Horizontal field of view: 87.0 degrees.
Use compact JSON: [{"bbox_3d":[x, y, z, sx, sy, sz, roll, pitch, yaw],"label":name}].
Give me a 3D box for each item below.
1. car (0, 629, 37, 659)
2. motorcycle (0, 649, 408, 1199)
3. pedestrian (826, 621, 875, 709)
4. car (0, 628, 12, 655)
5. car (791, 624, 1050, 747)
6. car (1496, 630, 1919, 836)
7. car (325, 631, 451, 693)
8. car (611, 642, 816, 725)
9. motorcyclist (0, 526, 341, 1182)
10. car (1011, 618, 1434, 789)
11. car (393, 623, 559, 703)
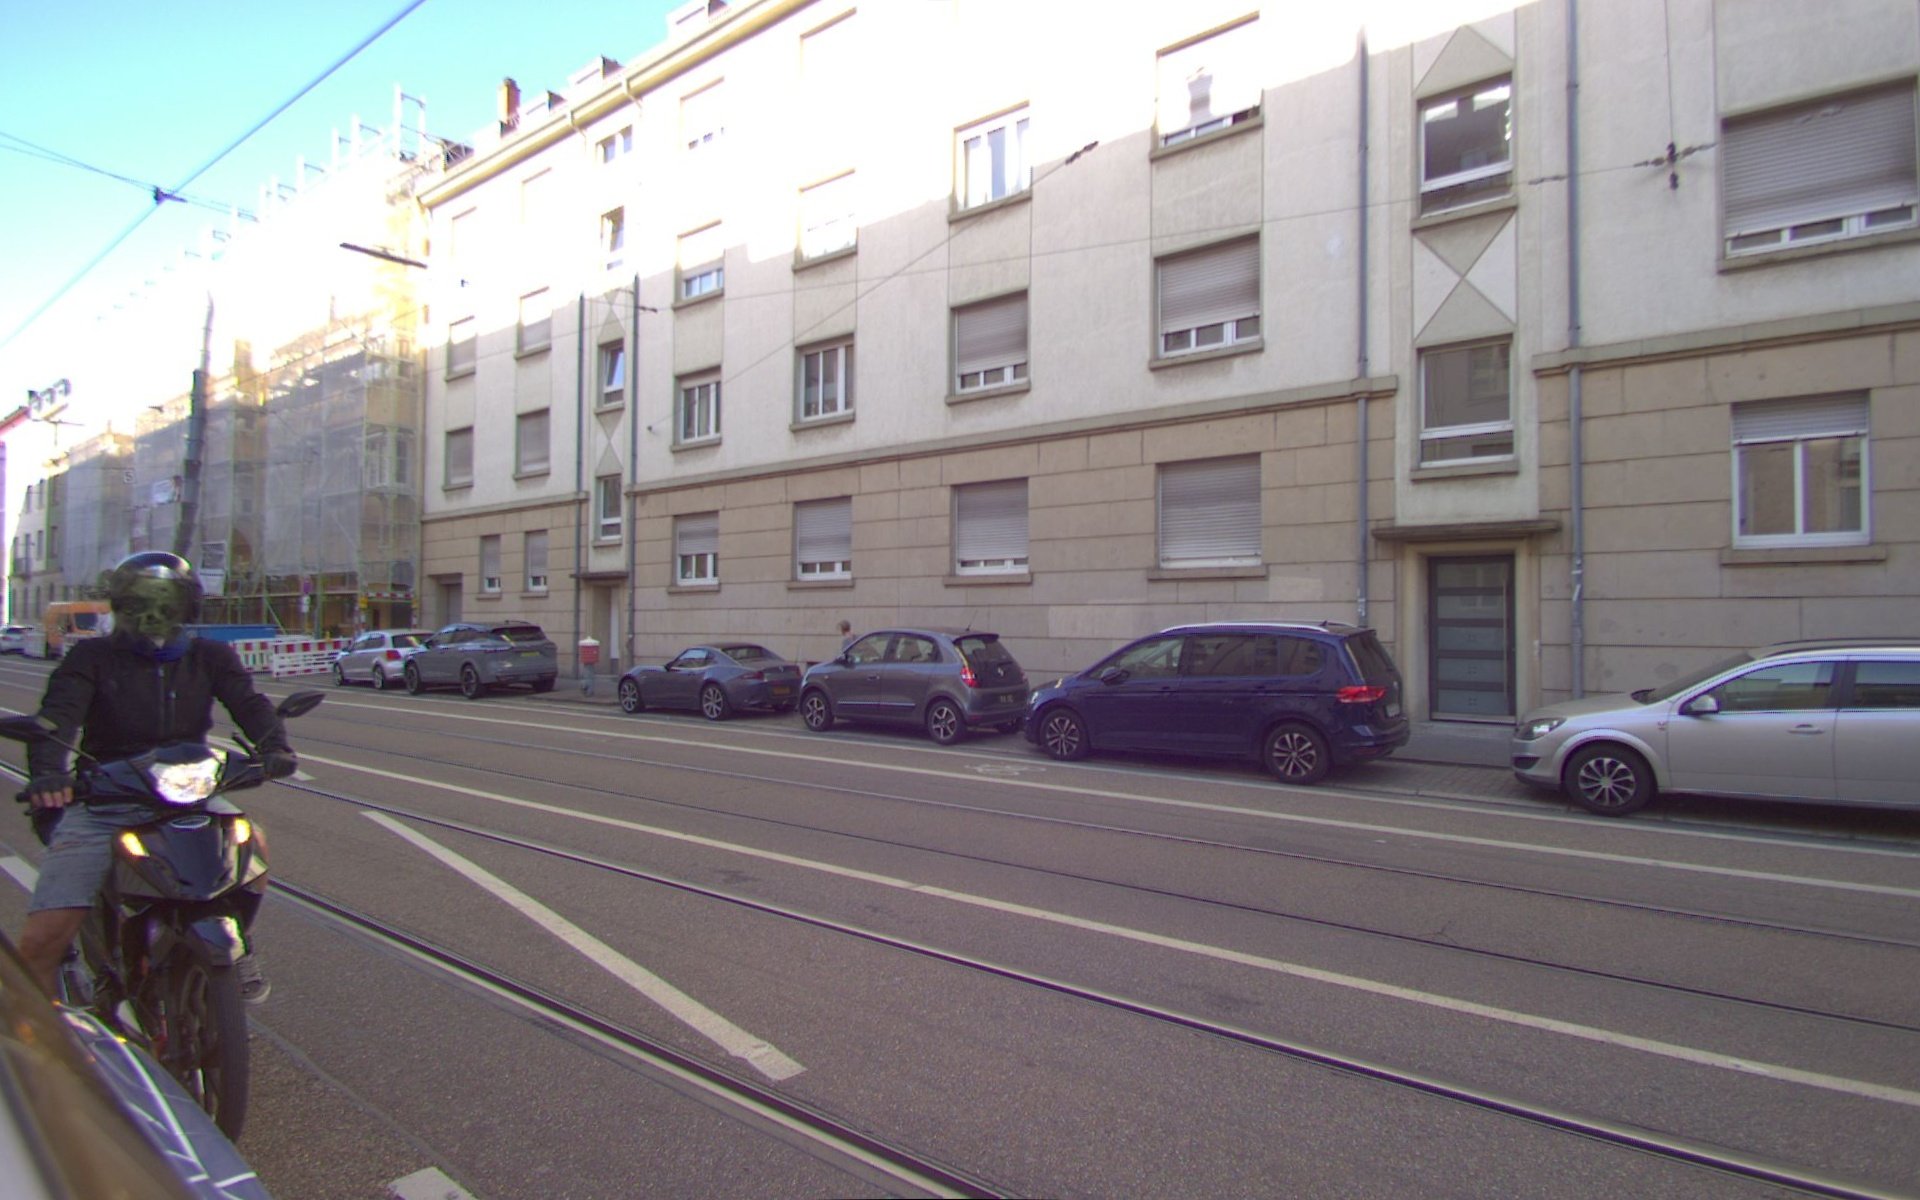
[{"bbox_3d":[-50.070,2.281,53.343,3.964,1.498,1.662,-2,-1,42],"label":"car"},{"bbox_3d":[-2.641,0.824,3.241,2.272,1.302,0.781,-2,-3,41],"label":"motorcycle"},{"bbox_3d":[-1.972,1.156,18.223,0.693,1.553,0.563,-2,-3,39],"label":"pedestrian"},{"bbox_3d":[-54.586,2.336,56.819,3.964,1.498,1.662,-2,-1,42],"label":"car"},{"bbox_3d":[-0.631,1.138,14.659,3.535,1.539,1.659,-1,-1,38],"label":"car"},{"bbox_3d":[7.124,1.007,8.506,4.383,1.489,1.779,-1,-1,38],"label":"car"},{"bbox_3d":[-14.387,1.505,25.401,3.506,1.423,1.524,-1,-1,38],"label":"car"},{"bbox_3d":[-4.317,1.372,17.505,3.681,1.244,1.502,-1,-1,38],"label":"car"},{"bbox_3d":[-2.544,0.663,3.164,0.899,1.668,0.781,-2,-3,41],"label":"motorcyclist"},{"bbox_3d":[2.890,1.037,11.680,4.383,1.611,1.779,-1,-1,38],"label":"car"},{"bbox_3d":[-10.886,1.340,22.664,4.201,1.611,1.675,-1,-1,38],"label":"car"}]
